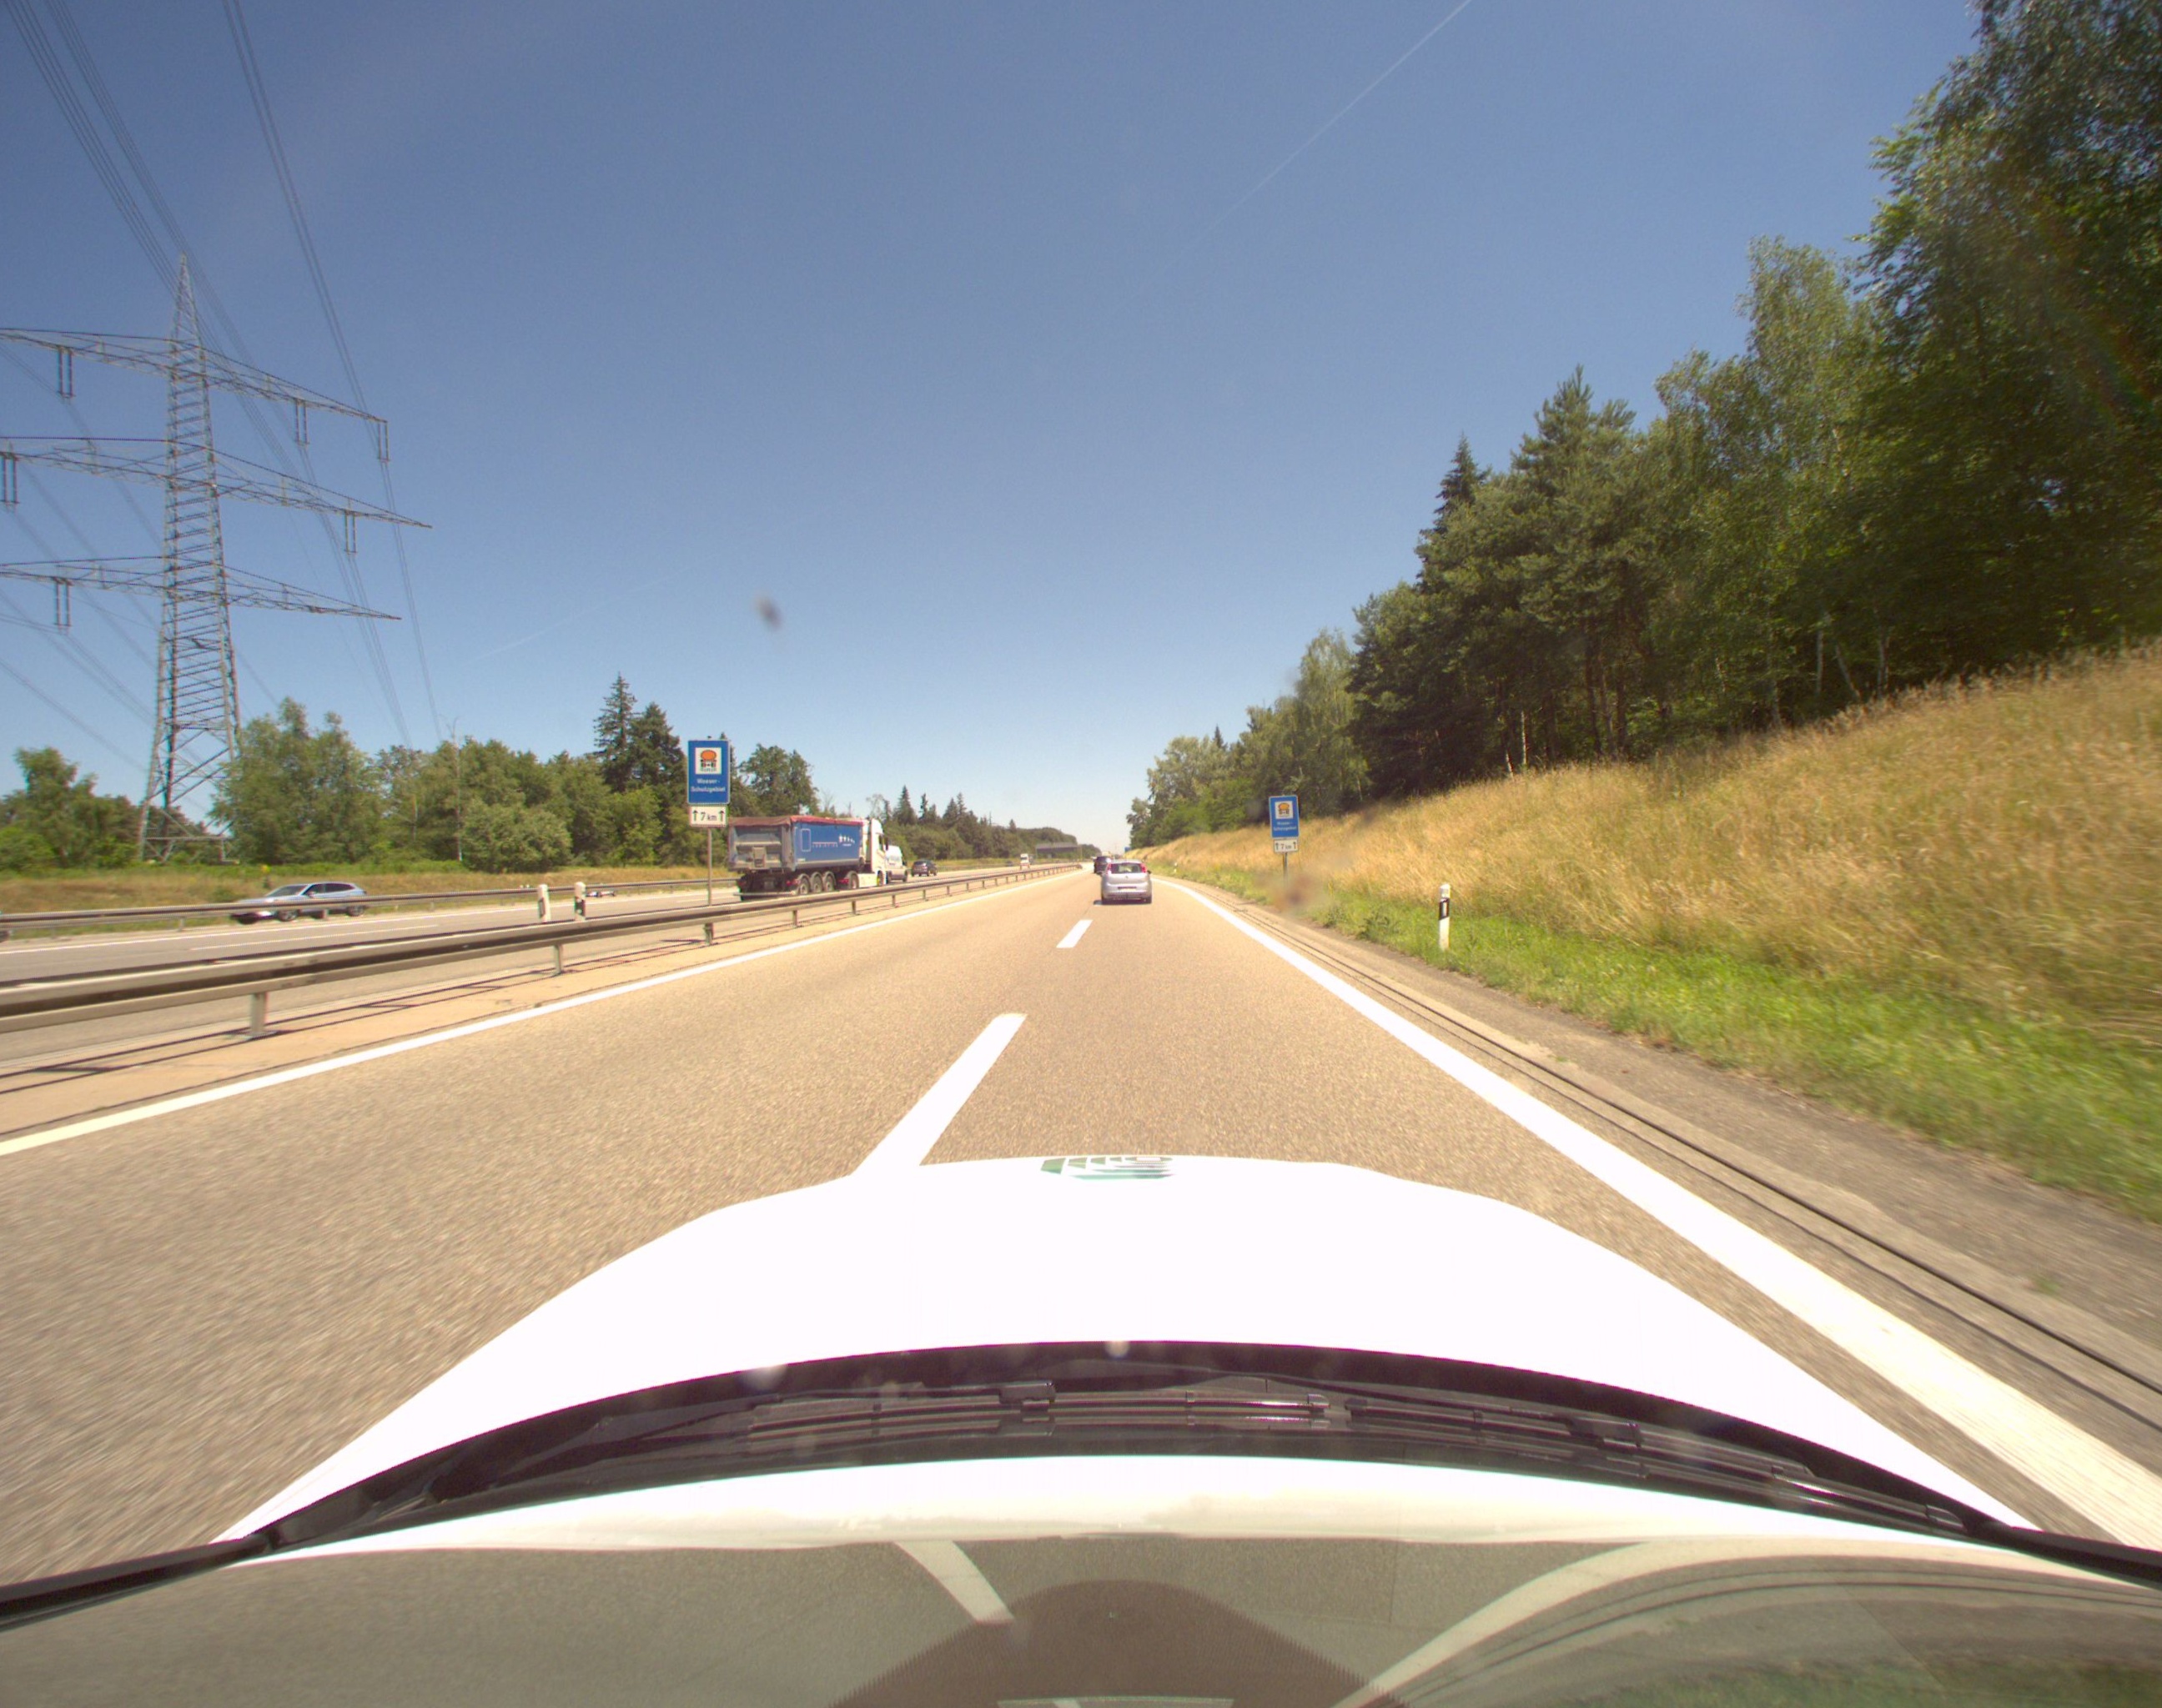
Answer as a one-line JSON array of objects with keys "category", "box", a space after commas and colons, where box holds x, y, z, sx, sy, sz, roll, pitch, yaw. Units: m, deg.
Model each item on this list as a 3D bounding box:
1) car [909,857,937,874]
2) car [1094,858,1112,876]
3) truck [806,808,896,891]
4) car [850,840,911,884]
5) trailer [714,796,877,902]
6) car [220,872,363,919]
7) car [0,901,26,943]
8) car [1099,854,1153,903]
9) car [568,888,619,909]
[{"category": "car", "box": [-16.081, 1.216, 83.127, 1.986, 1.618, 4.001, -2, -2, 2]}, {"category": "car", "box": [2.181, 1.280, 80.814, 1.700, 1.676, 3.397, -2, -2, 1]}, {"category": "truck", "box": [-11.347, -0.215, 40.609, 2.744, 3.807, 4.627, -2, 0, 4]}, {"category": "car", "box": [-14.443, 0.639, 59.090, 2.622, 2.897, 6.476, -2, -2, 1]}, {"category": "trailer", "box": [-11.776, -0.193, 34.989, 2.758, 3.807, 9.897, -2, 0, 4]}, {"category": "car", "box": [-32.981, 1.682, 34.191, 1.986, 1.783, 4.002, -2, -1, 2]}, {"category": "car", "box": [-47.314, 2.940, 33.716, 1.986, 1.783, 4.002, -2, -1, 2]}, {"category": "car", "box": [1.575, 0.794, 27.792, 1.698, 1.482, 3.402, -2, 0, 4]}, {"category": "car", "box": [-45.983, 4.190, 76.911, 1.983, 1.783, 4.007, -2, -1, 6]}]
